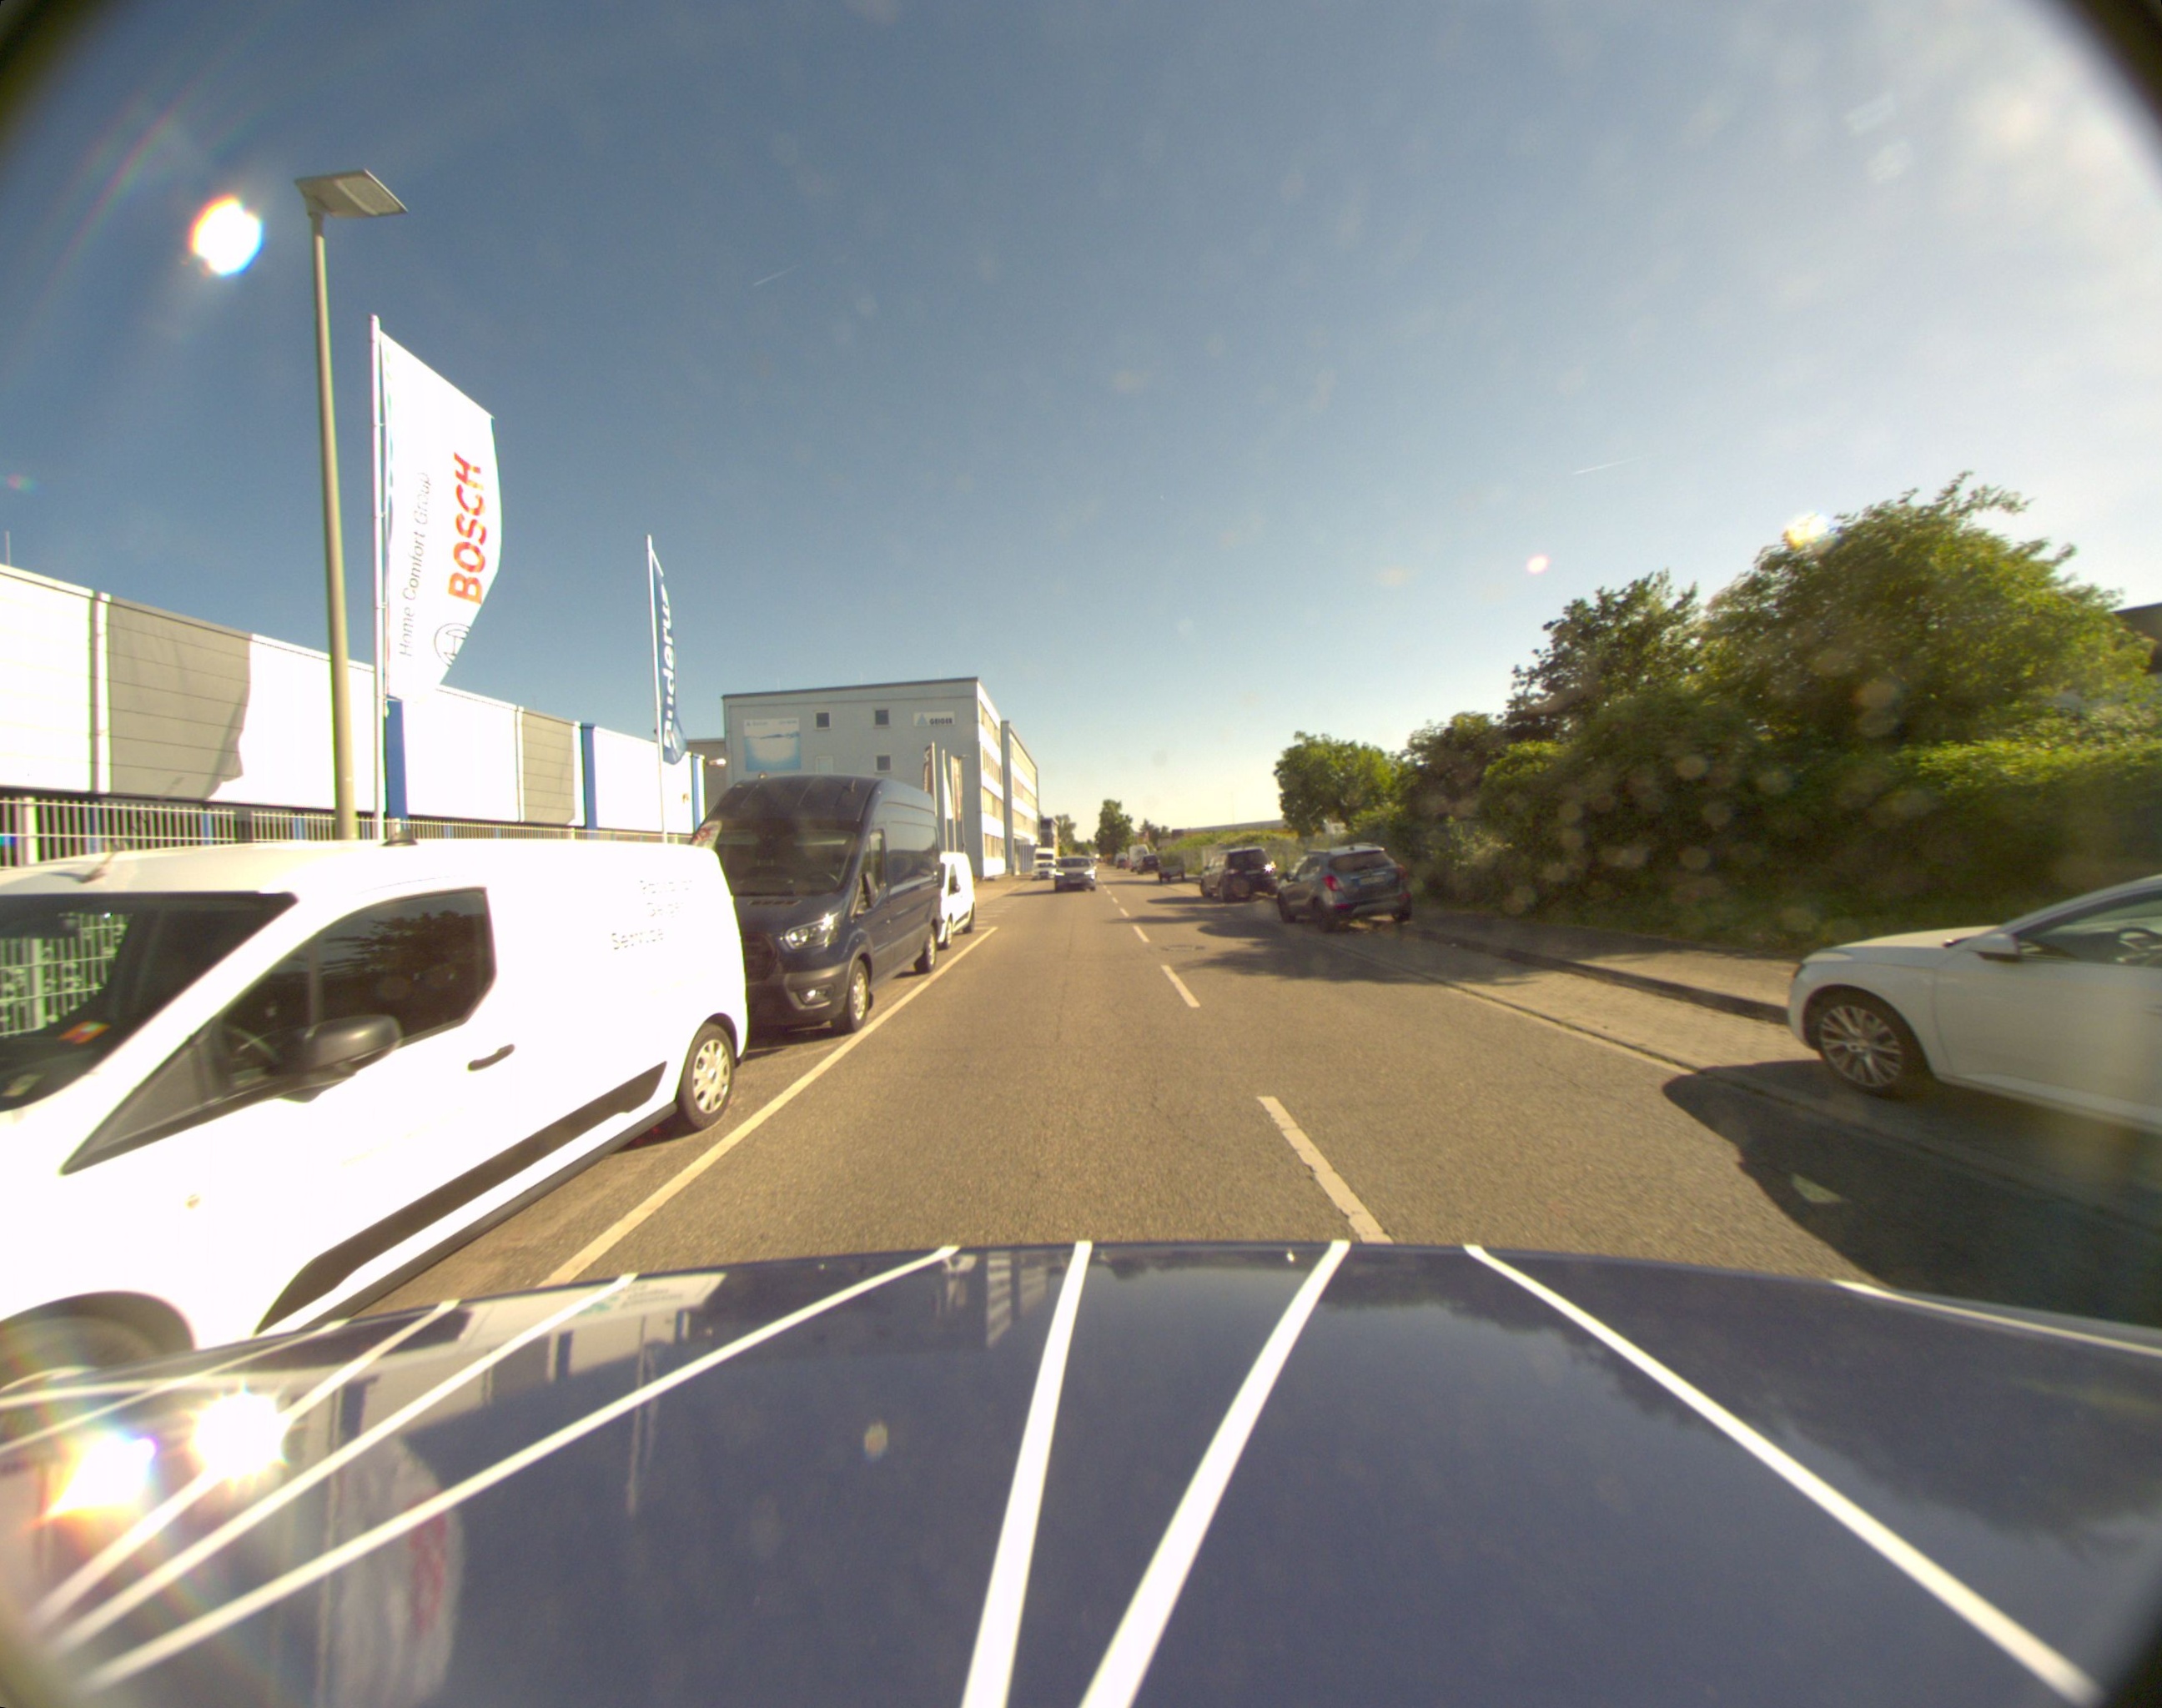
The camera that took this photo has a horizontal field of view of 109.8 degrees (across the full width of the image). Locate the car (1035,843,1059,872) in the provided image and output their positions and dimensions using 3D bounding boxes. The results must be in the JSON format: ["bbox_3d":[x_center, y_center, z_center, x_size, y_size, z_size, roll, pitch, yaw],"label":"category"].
[{"bbox_3d":[-3.120,0.378,71.431,1.999,2.582,6.051,0,-1,0],"label":"car"}]

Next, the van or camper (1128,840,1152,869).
[{"bbox_3d":[6.119,0.092,79.507,1.971,2.669,5.948,-7,0,2],"label":"van or camper"}]

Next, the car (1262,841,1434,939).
[{"bbox_3d":[5.568,0.686,16.556,1.913,1.653,4.463,-6,0,-2],"label":"car"}]

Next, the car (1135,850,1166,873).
[{"bbox_3d":[6.057,0.657,66.656,2.035,1.684,5.106,-6,0,-1],"label":"car"}]

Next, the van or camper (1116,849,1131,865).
[{"bbox_3d":[7.136,0.506,128.693,2.076,2.534,6.404,-6,0,1],"label":"van or camper"}]

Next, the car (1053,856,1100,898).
[{"bbox_3d":[-0.182,1.020,35.910,1.998,1.750,5.016,-3,0,0],"label":"car"}]

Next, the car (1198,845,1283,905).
[{"bbox_3d":[5.476,0.684,26.716,1.796,1.720,4.802,-6,0,0],"label":"car"}]

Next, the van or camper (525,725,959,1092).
[{"bbox_3d":[-3.141,0.409,9.025,2.146,2.743,6.161,-4,1,1],"label":"van or camper"}]

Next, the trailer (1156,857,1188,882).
[{"bbox_3d":[5.395,0.907,45.437,1.480,1.346,3.078,-4,0,1],"label":"trailer"}]

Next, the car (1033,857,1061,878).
[{"bbox_3d":[-2.623,0.999,59.821,1.899,1.397,5.123,-4,0,0],"label":"car"}]

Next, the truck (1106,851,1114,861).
[{"bbox_3d":[8.976,0.551,232.358,2.173,2.698,5.750,-4,1,1],"label":"truck"}]

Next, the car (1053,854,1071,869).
[{"bbox_3d":[-2.439,0.928,97.227,1.894,1.821,5.091,-3,0,2],"label":"car"}]

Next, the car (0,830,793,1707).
[{"bbox_3d":[-3.157,0.918,3.037,1.890,1.836,5.103,-4,0,1],"label":"car"}]

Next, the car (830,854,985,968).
[{"bbox_3d":[-3.266,0.972,15.474,1.890,1.787,5.103,-4,0,0],"label":"car"}]

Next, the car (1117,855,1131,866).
[{"bbox_3d":[6.644,0.958,117.868,1.804,1.501,5.003,-6,0,1],"label":"car"}]

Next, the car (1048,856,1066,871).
[{"bbox_3d":[-2.762,1.106,89.522,1.894,1.551,5.090,-3,0,0],"label":"car"}]

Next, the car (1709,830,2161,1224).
[{"bbox_3d":[5.653,0.750,3.130,1.912,1.584,5.025,-6,0,1],"label":"car"}]

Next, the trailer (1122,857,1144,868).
[{"bbox_3d":[6.699,1.105,98.546,2.382,1.073,6.246,-6,-1,0],"label":"trailer"}]

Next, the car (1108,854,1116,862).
[{"bbox_3d":[8.116,1.010,200.762,1.779,1.838,4.616,-4,0,4],"label":"car"}]
